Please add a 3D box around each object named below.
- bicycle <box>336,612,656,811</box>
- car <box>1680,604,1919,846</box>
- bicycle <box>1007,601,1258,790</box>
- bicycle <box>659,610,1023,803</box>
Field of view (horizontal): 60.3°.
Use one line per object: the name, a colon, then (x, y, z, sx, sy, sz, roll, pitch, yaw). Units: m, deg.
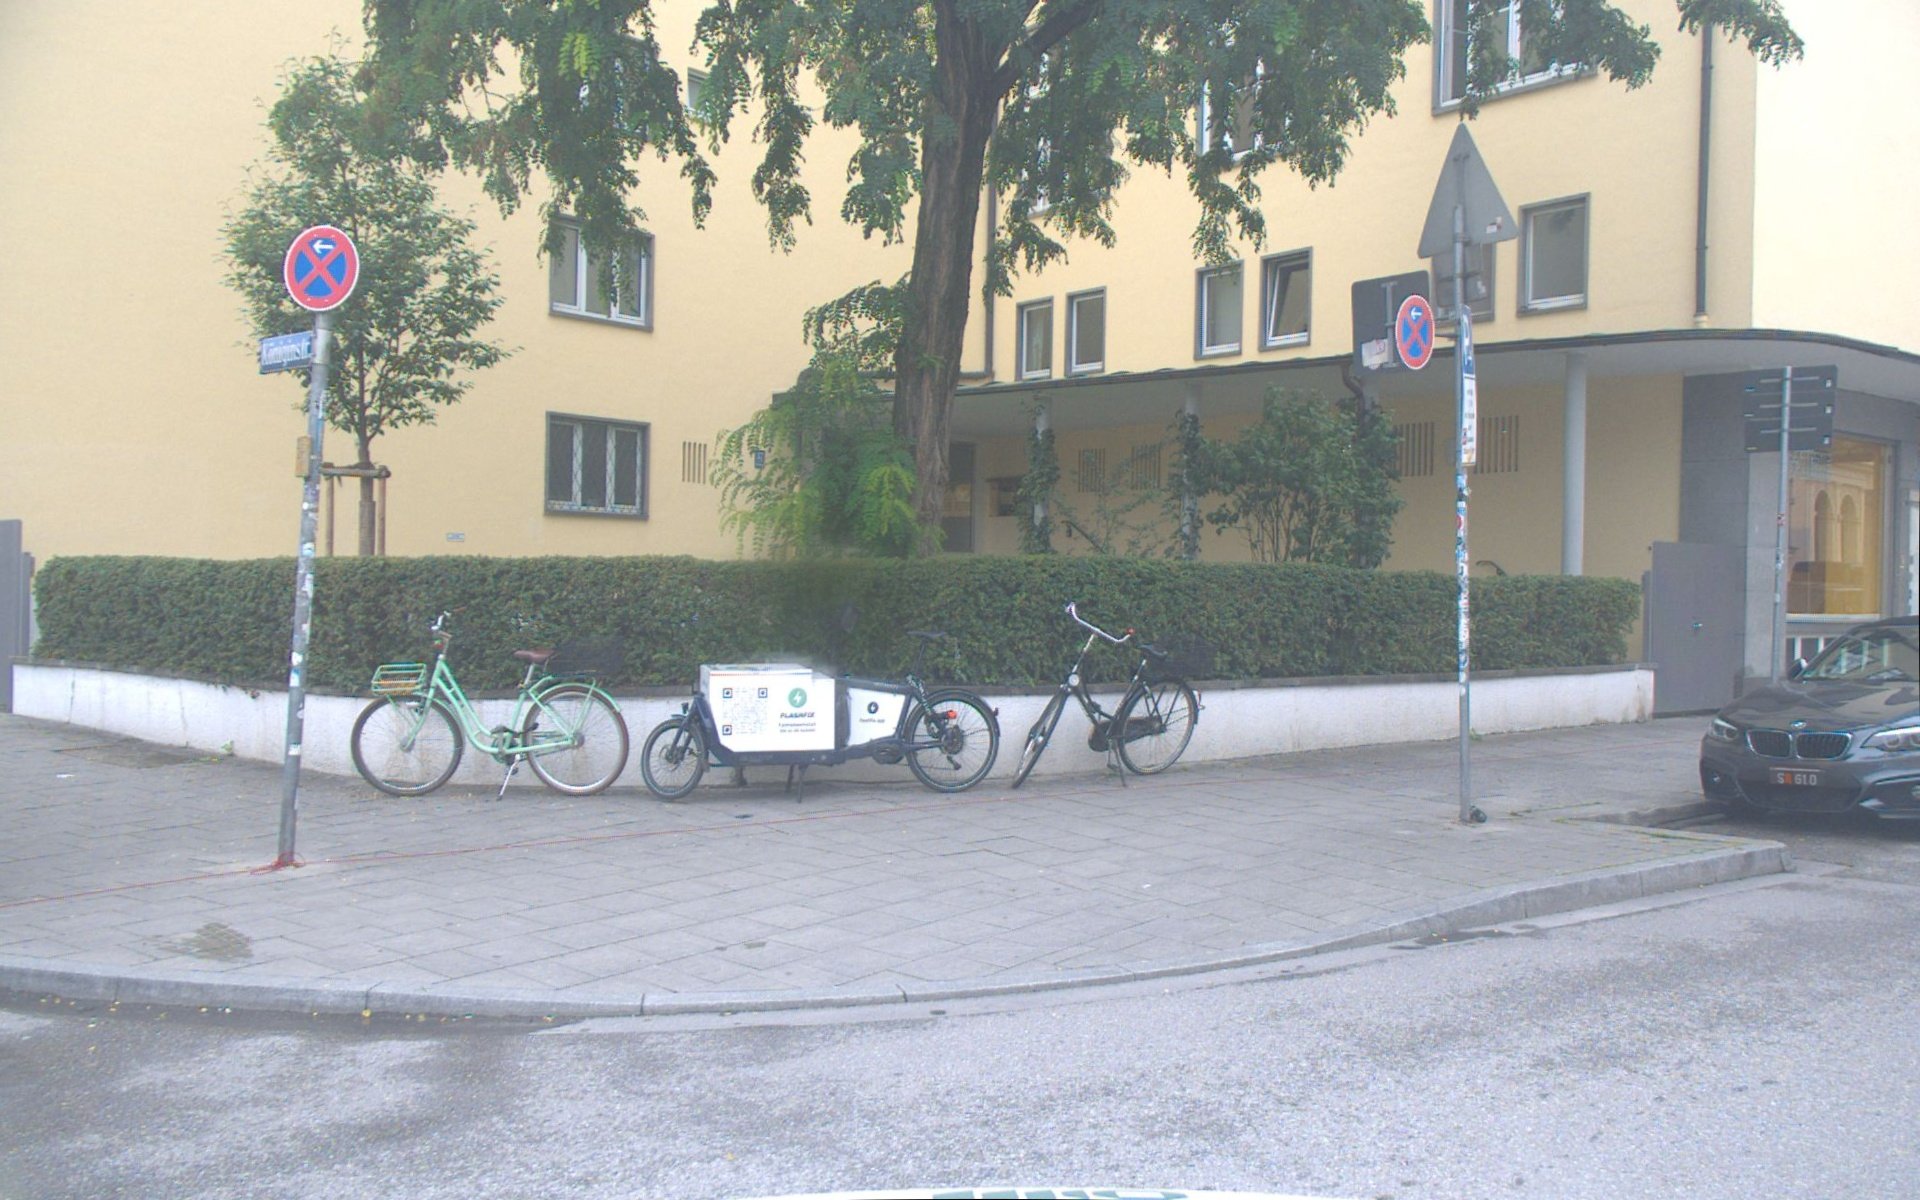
bicycle: (-2.962, 0.688, 10.600, 1.904, 1.176, 0.584, 0, 2, 12)
car: (7.045, 0.764, 11.860, 4.055, 1.435, 1.728, -1, 0, -38)
bicycle: (1.239, 0.632, 11.666, 1.833, 1.231, 0.557, 0, 1, -35)
bicycle: (-0.763, 0.662, 10.582, 2.251, 1.145, 0.581, 1, 2, -14)
